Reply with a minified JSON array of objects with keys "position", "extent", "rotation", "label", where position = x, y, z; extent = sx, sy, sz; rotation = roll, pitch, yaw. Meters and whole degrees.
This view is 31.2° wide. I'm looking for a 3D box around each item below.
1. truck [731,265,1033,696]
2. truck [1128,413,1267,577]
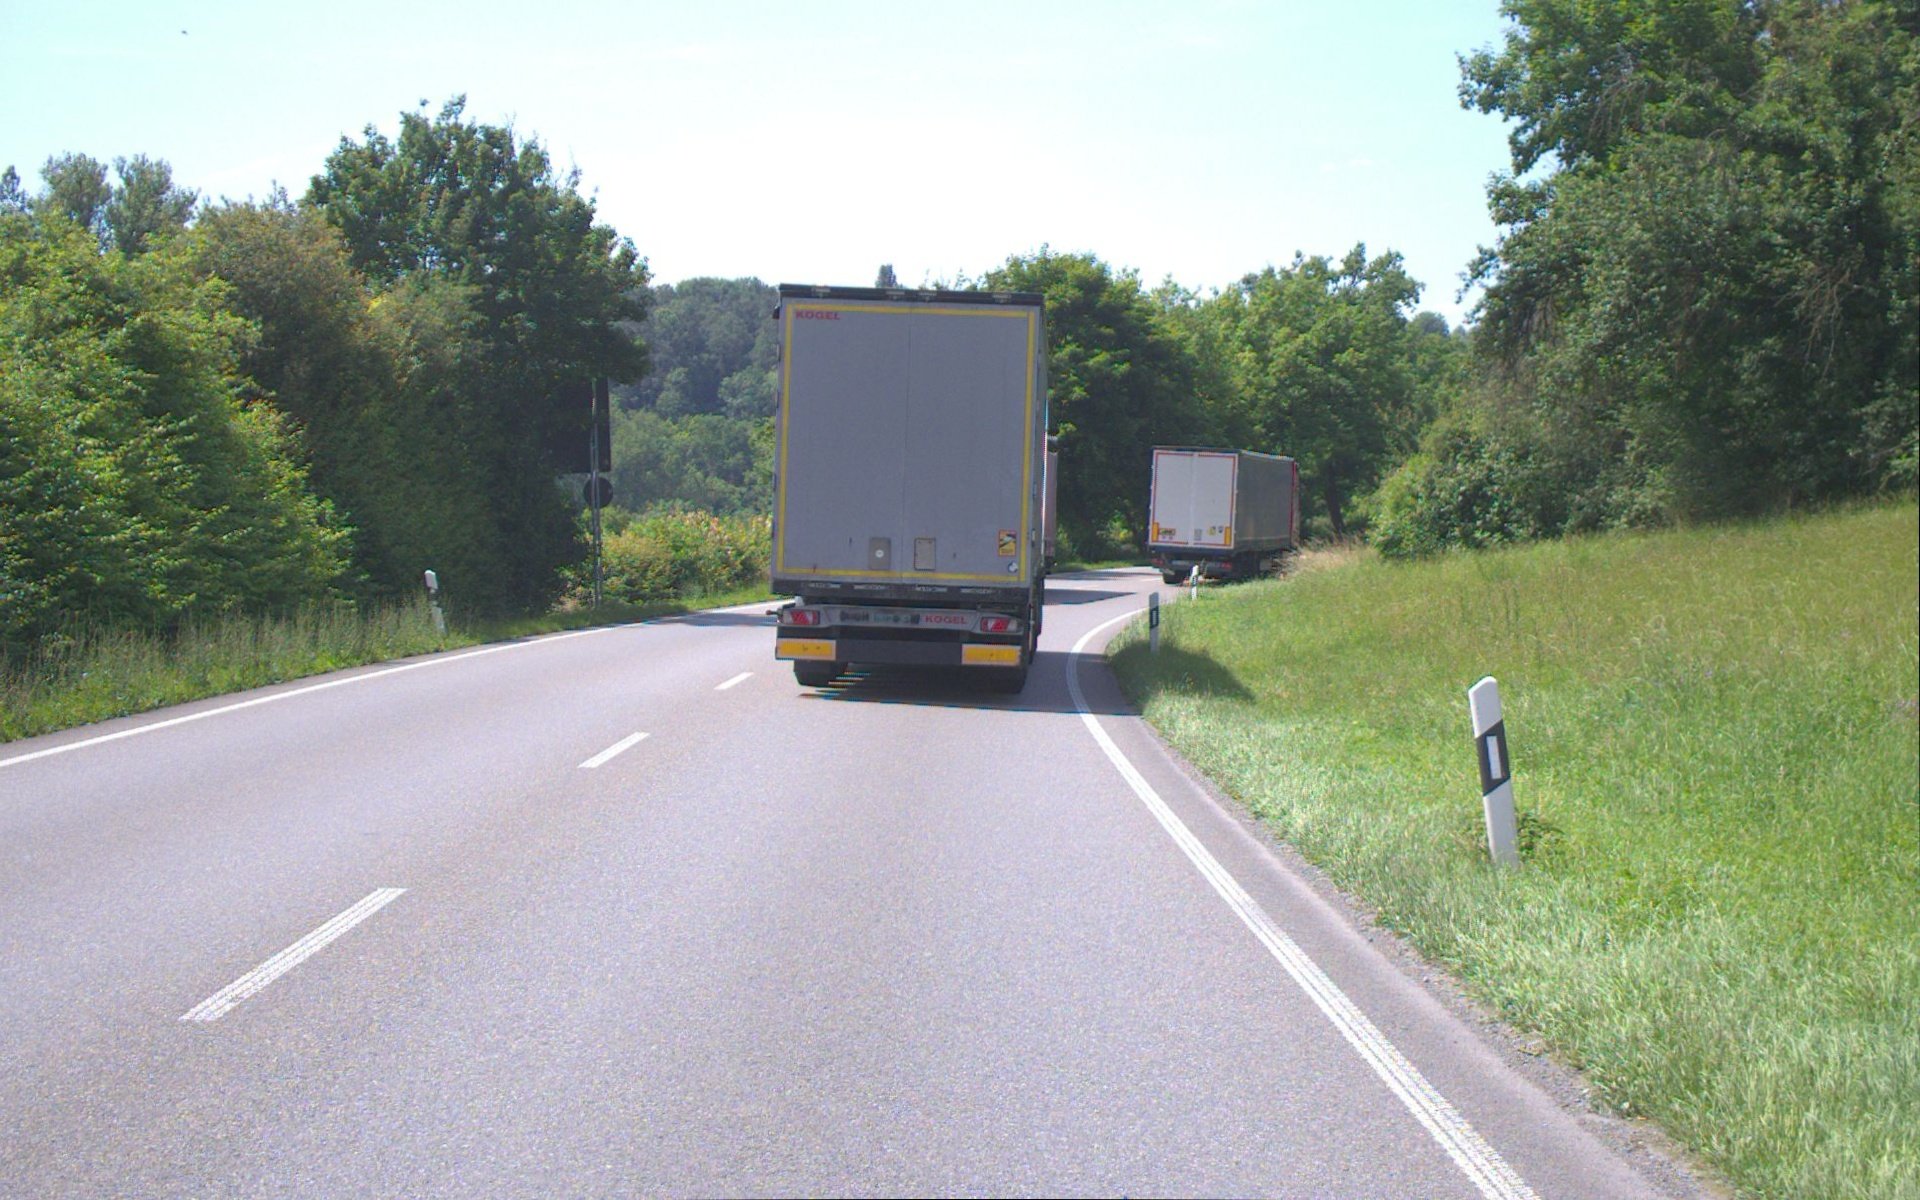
[{"position":[-0.609,-1.253,40.420],"extent":[2.801,4.055,15.325],"rotation":[1,1,1],"label":"truck"},{"position":[7.578,-3.242,107.396],"extent":[3.106,4.689,16.584],"rotation":[1,2,8],"label":"truck"}]
